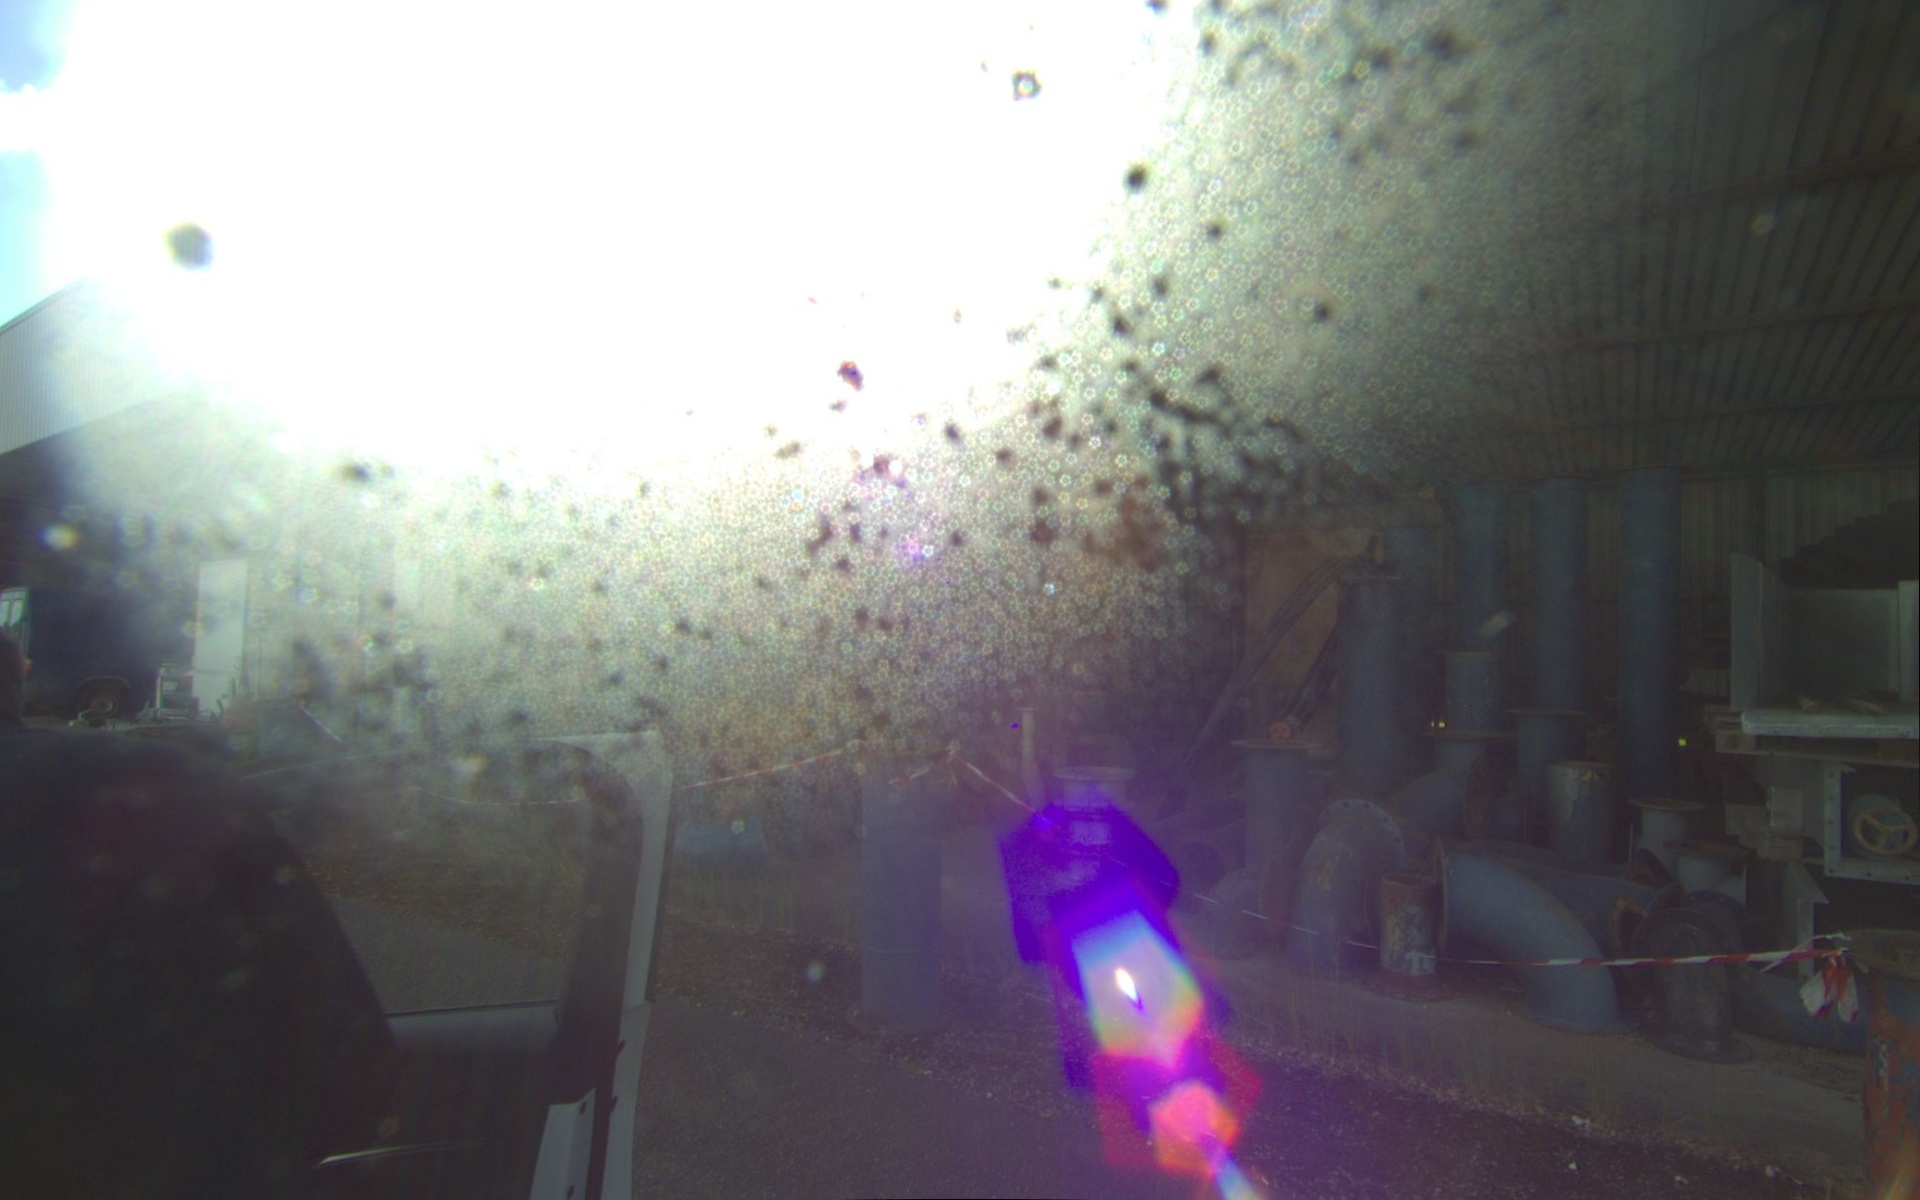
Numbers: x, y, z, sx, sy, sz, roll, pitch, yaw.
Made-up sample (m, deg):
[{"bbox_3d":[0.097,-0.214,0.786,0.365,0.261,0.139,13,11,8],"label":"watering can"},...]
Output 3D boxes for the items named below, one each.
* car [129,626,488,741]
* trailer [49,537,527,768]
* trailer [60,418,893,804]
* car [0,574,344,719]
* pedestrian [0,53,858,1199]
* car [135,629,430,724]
[{"bbox_3d":[-9.826,1.210,15.488,1.751,1.514,4.324,-1,-3,31],"label":"car"},{"bbox_3d":[-8.378,0.673,12.959,1.804,2.421,4.796,-1,-3,38],"label":"trailer"},{"bbox_3d":[-5.061,0.324,13.426,2.814,3.256,10.018,-1,-3,34],"label":"trailer"},{"bbox_3d":[-14.774,0.899,18.901,1.973,2.354,4.969,-1,-3,34],"label":"car"},{"bbox_3d":[-0.495,0.617,0.916,0.562,1.809,0.550,0,-2,32],"label":"pedestrian"},{"bbox_3d":[-11.925,1.302,17.908,1.761,1.491,3.985,-1,-3,29],"label":"car"}]
